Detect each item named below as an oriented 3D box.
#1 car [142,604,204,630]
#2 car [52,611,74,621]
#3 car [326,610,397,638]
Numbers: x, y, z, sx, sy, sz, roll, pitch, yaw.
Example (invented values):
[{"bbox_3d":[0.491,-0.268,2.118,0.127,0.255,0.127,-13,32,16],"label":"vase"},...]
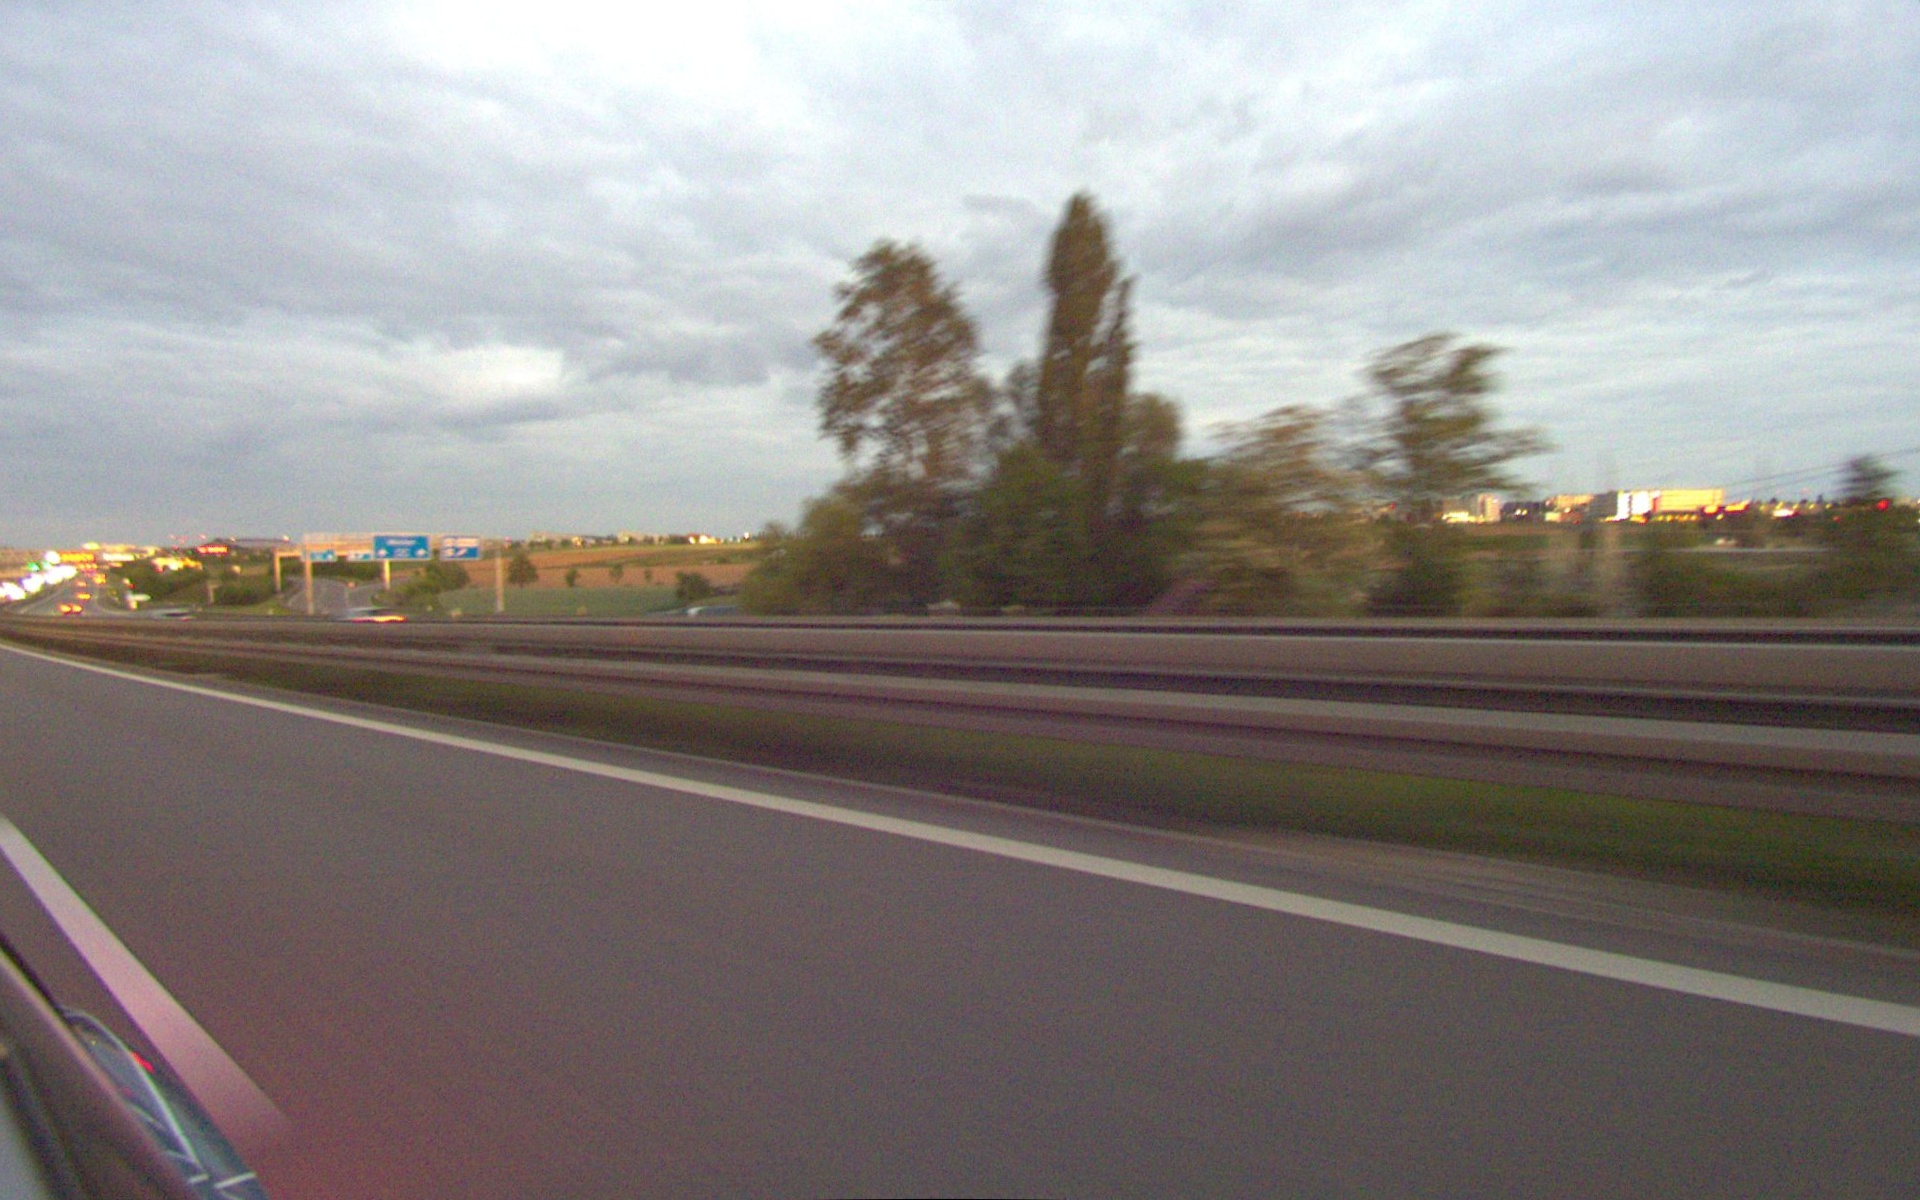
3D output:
[{"bbox_3d":[-45.432,0.992,58.394,4.326,1.414,1.973,-1,0,40],"label":"car"},{"bbox_3d":[-131.263,2.339,148.065,4.864,1.368,1.972,-1,0,43],"label":"car"},{"bbox_3d":[-28.269,1.098,47.750,4.182,1.236,1.703,-1,0,42],"label":"car"}]
